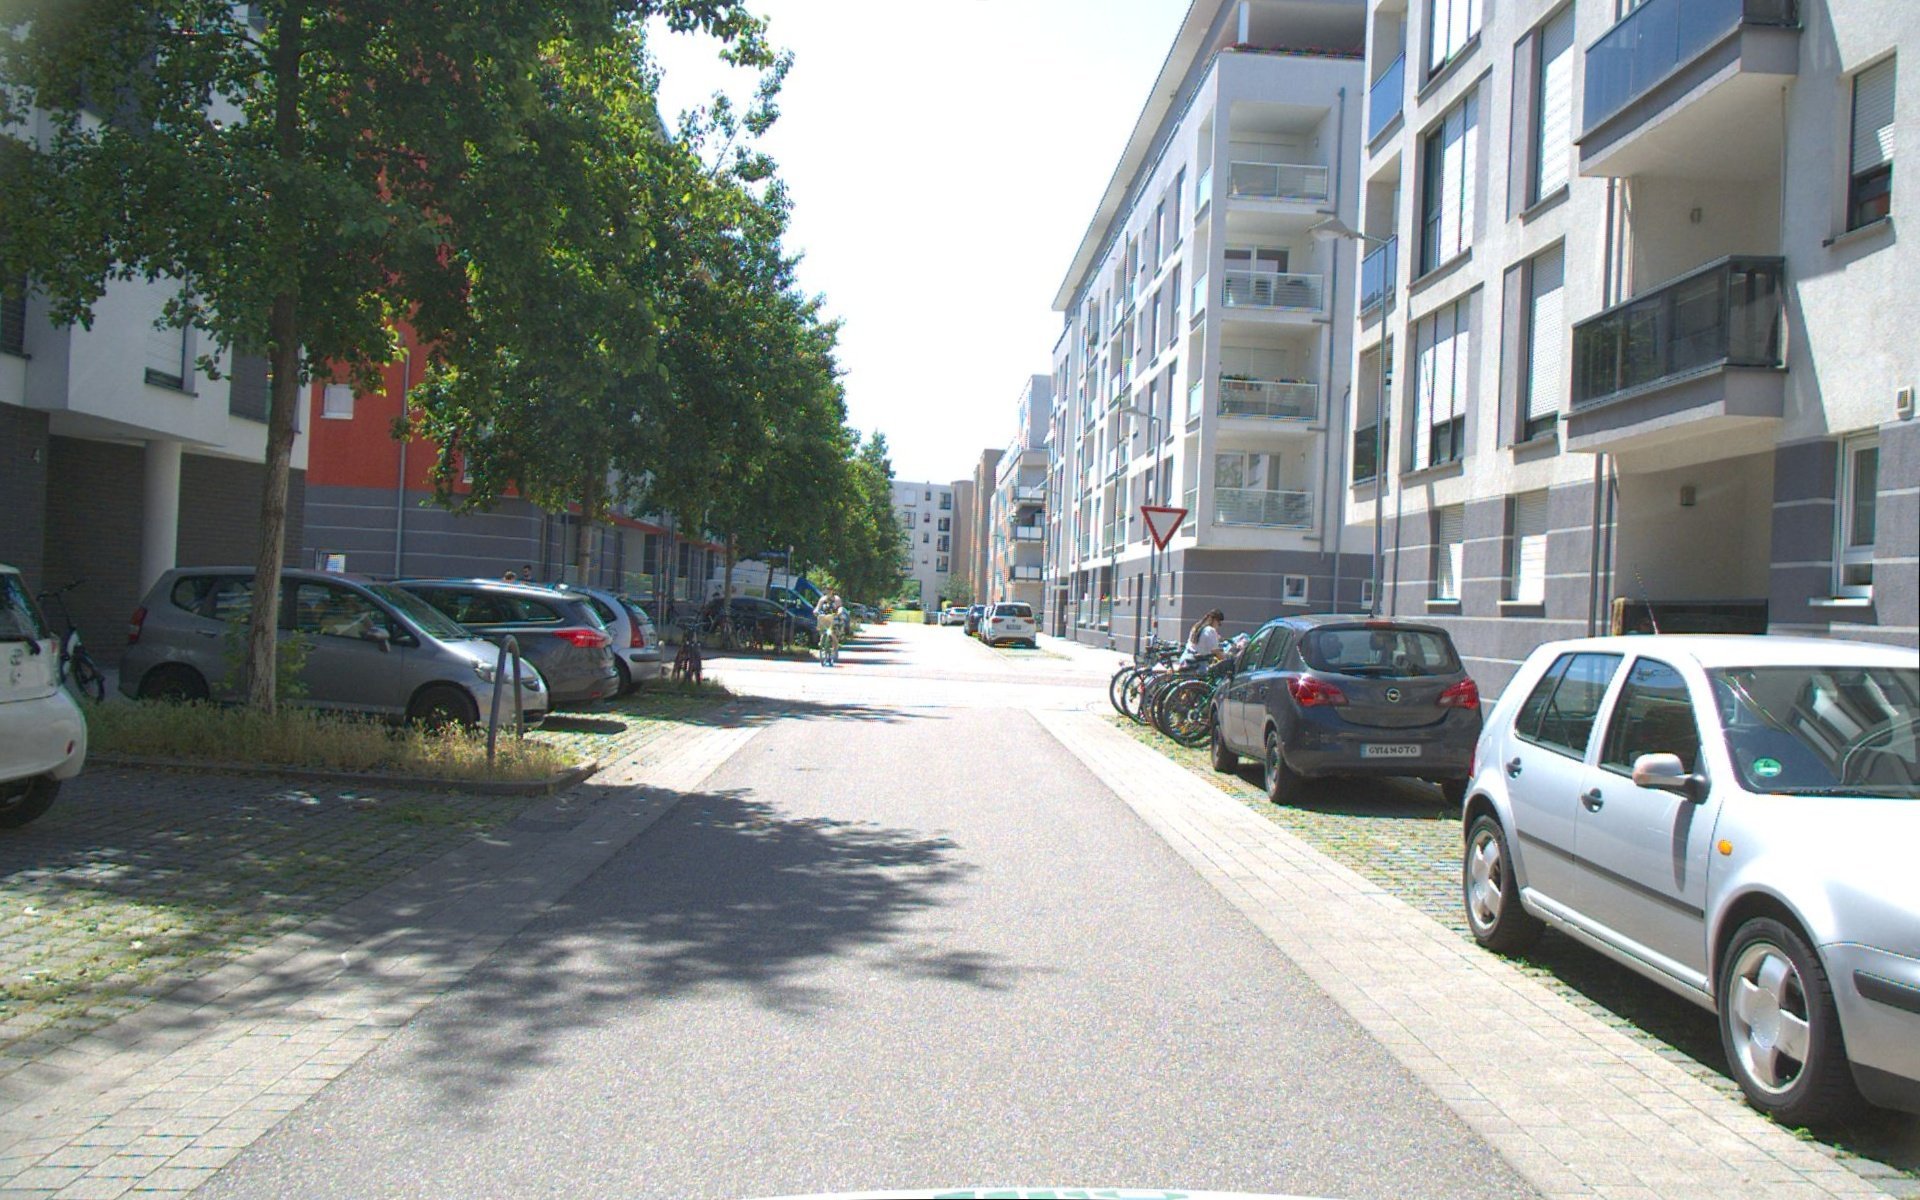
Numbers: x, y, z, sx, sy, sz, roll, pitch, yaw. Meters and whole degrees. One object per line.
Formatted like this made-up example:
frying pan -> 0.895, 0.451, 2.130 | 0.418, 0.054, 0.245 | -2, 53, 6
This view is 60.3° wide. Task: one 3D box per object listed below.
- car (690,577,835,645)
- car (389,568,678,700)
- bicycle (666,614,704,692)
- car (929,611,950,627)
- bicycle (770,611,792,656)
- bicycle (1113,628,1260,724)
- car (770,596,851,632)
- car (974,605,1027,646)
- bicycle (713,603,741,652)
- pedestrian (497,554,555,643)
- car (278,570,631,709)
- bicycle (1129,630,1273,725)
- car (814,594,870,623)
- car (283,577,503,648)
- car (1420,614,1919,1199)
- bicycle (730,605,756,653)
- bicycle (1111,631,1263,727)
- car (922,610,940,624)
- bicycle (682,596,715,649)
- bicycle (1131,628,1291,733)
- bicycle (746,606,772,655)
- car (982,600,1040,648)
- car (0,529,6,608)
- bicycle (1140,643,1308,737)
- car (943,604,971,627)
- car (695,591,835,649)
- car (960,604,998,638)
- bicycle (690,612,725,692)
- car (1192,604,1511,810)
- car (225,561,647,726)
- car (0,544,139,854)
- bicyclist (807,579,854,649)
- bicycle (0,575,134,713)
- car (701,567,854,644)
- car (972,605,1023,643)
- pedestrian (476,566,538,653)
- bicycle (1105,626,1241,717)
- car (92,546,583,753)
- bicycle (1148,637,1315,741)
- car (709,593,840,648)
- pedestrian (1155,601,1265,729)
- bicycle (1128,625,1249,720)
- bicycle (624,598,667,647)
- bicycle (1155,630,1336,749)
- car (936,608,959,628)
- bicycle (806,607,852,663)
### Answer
car -> -7.327, 0.405, 61.790 | 5.042, 2.156, 2.311 | 4, 0, -2
car -> -5.977, 0.467, 23.515 | 3.557, 1.547, 1.831 | 4, 0, -2
bicycle -> -4.348, 0.813, 26.055 | 0.426, 1.147, 1.972 | 2, 0, -13
car -> -2.154, 1.980, 171.924 | 1.954, 1.545, 3.998 | 3, 0, -3
bicycle -> -4.844, 0.900, 44.774 | 0.456, 1.161, 1.925 | 2, 0, -4
bicycle -> 3.006, 0.995, 21.972 | 1.882, 1.200, 0.639 | 1, -1, 7
car -> -7.608, 0.713, 84.417 | 3.905, 1.646, 2.000 | 3, 0, 0
car -> 1.642, 1.010, 67.779 | 1.953, 1.551, 3.999 | 2, 0, -1
bicycle -> -6.299, 0.738, 44.769 | 0.508, 1.225, 1.751 | 4, 1, -4
pedestrian -> -10.264, -0.029, 39.158 | 0.988, 2.049, 1.129 | 2, 0, 1
car -> -6.391, 0.491, 21.227 | 3.905, 1.582, 1.800 | 2, 0, 0
bicycle -> 3.067, 0.981, 21.003 | 1.807, 1.168, 0.458 | 2, -1, -21
car -> -8.983, 0.634, 126.020 | 3.903, 2.049, 2.001 | 2, 0, 5
car -> -13.246, 0.285, 38.852 | 4.482, 1.407, 1.936 | 3, 1, -4
car -> 3.327, 0.850, 6.359 | 1.797, 1.531, 4.349 | 1, 0, -2
bicycle -> -5.838, 0.769, 44.530 | 0.425, 1.225, 1.699 | 4, 1, -1
bicycle -> 2.926, 1.005, 21.364 | 1.882, 1.153, 0.609 | 1, -1, 7
car -> -3.414, 1.942, 193.139 | 1.953, 1.545, 4.000 | 2, 0, 1
bicycle -> -7.040, 0.596, 44.539 | 0.581, 1.354, 1.812 | 2, 1, -1
bicycle -> 3.095, 0.997, 20.420 | 1.889, 1.239, 0.459 | 2, -1, -11
bicycle -> -5.415, 0.819, 44.537 | 0.560, 1.194, 1.765 | 5, 1, -8
car -> 1.880, 0.877, 62.085 | 1.957, 1.686, 4.114 | 2, 0, -1
car -> -5.610, 0.381, 5.544 | 3.638, 1.613, 1.818 | 4, -1, -7
bicycle -> 3.144, 1.072, 19.759 | 1.886, 1.053, 0.559 | 1, -1, -6
car -> -0.264, 1.193, 130.691 | 1.954, 1.704, 3.998 | 2, 0, -3
car -> -6.391, 0.665, 54.631 | 4.295, 1.541, 2.074 | 5, 0, -2
car -> 0.978, 1.036, 82.169 | 1.721, 1.579, 4.001 | 3, 0, 2
bicycle -> -3.994, 0.799, 26.095 | 0.364, 1.201, 1.814 | 2, 0, -13
car -> 3.274, 0.820, 14.677 | 1.703, 1.511, 4.227 | 2, 0, -2
car -> -5.746, 0.494, 18.603 | 4.100, 1.512, 1.956 | 4, -2, -5
car -> -6.186, 0.381, 8.529 | 2.875, 1.526, 1.847 | 5, 0, -3
bicyclist -> -2.840, 0.301, 36.304 | 0.934, 1.485, 0.799 | 2, 0, -2
bicycle -> -8.561, 0.389, 15.615 | 0.555, 1.211, 1.774 | 2, 0, 1
car -> -7.343, 0.219, 67.223 | 5.902, 2.865, 2.604 | 2, 0, -2
car -> 1.623, 1.031, 72.608 | 1.954, 1.551, 3.998 | 2, 0, -3
pedestrian -> -9.275, 0.189, 33.889 | 0.980, 1.720, 0.832 | 2, 0, -1
bicycle -> 2.989, 0.997, 23.364 | 1.821, 1.214, 0.687 | 1, -1, 1
car -> -5.758, 0.449, 15.706 | 3.859, 1.580, 1.871 | 4, 0, -2
bicycle -> 3.115, 1.021, 19.064 | 1.751, 1.123, 0.746 | 1, -1, -6
car -> -6.397, 0.706, 57.377 | 4.295, 1.568, 1.877 | 4, 0, -2
pedestrian -> 3.099, 0.802, 20.549 | 1.157, 1.541, 0.686 | 1, 0, -11
bicycle -> 3.116, 0.988, 22.658 | 1.520, 1.239, 0.707 | 1, -1, -3
bicycle -> -8.411, 0.589, 44.329 | 0.675, 1.190, 2.222 | 5, 1, -1
bicycle -> 3.147, 0.985, 18.319 | 1.833, 1.239, 0.715 | 1, -1, -6
car -> -1.173, 1.696, 157.891 | 1.954, 1.747, 3.998 | 2, 0, -3
bicycle -> -2.855, 0.750, 36.332 | 0.880, 1.149, 2.039 | 2, 0, -2
